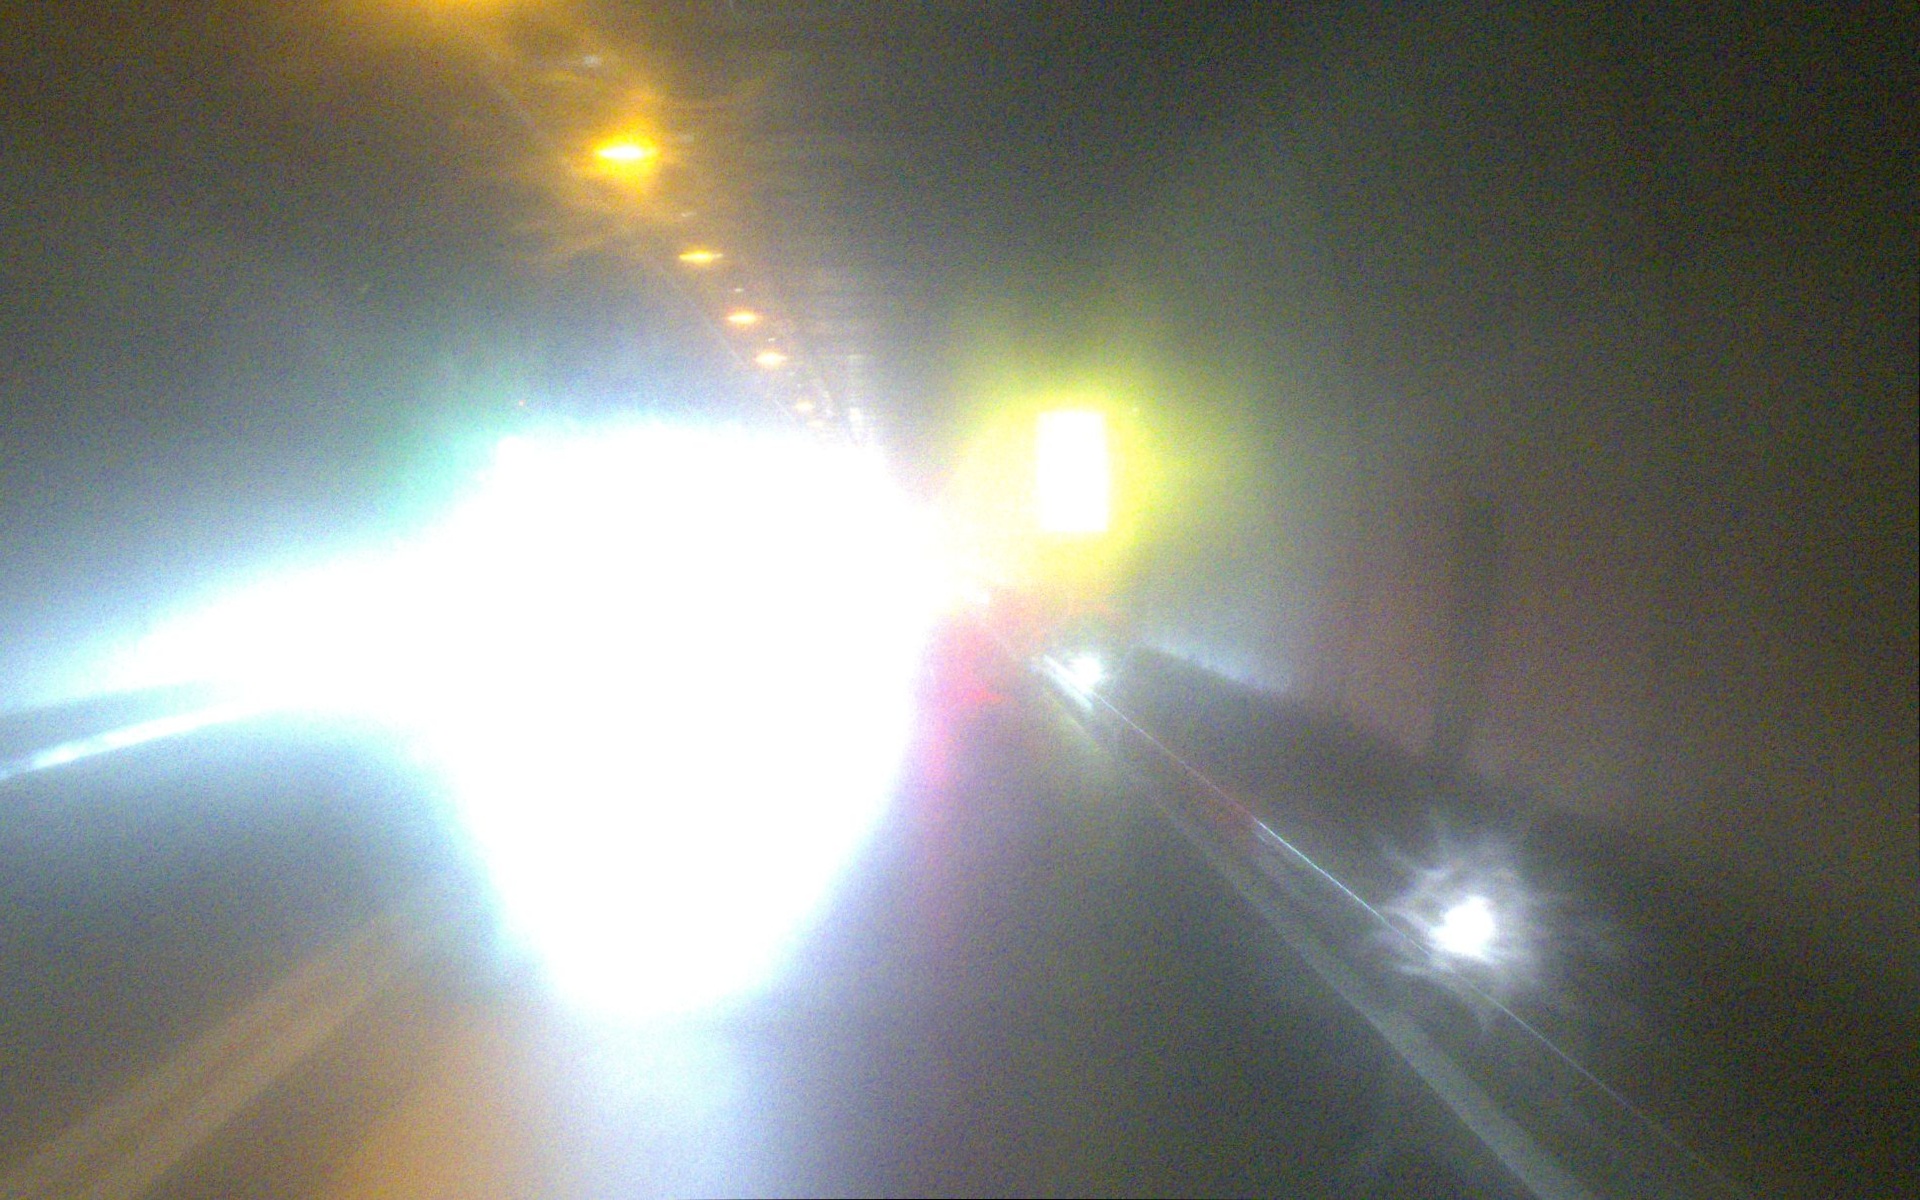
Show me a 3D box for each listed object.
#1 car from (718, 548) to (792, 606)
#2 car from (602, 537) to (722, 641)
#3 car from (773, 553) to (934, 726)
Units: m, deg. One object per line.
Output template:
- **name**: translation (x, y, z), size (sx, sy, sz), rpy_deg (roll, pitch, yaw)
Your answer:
- **car**: translation (-5.475, -0.636, 92.199), size (1.748, 1.475, 4.476), rpy_deg (1, 1, -1)
- **car**: translation (-4.987, -0.210, 57.883), size (1.697, 1.670, 4.127), rpy_deg (1, 1, -1)
- **car**: translation (-1.128, 0.382, 37.572), size (1.635, 1.752, 4.146), rpy_deg (1, 1, -1)
